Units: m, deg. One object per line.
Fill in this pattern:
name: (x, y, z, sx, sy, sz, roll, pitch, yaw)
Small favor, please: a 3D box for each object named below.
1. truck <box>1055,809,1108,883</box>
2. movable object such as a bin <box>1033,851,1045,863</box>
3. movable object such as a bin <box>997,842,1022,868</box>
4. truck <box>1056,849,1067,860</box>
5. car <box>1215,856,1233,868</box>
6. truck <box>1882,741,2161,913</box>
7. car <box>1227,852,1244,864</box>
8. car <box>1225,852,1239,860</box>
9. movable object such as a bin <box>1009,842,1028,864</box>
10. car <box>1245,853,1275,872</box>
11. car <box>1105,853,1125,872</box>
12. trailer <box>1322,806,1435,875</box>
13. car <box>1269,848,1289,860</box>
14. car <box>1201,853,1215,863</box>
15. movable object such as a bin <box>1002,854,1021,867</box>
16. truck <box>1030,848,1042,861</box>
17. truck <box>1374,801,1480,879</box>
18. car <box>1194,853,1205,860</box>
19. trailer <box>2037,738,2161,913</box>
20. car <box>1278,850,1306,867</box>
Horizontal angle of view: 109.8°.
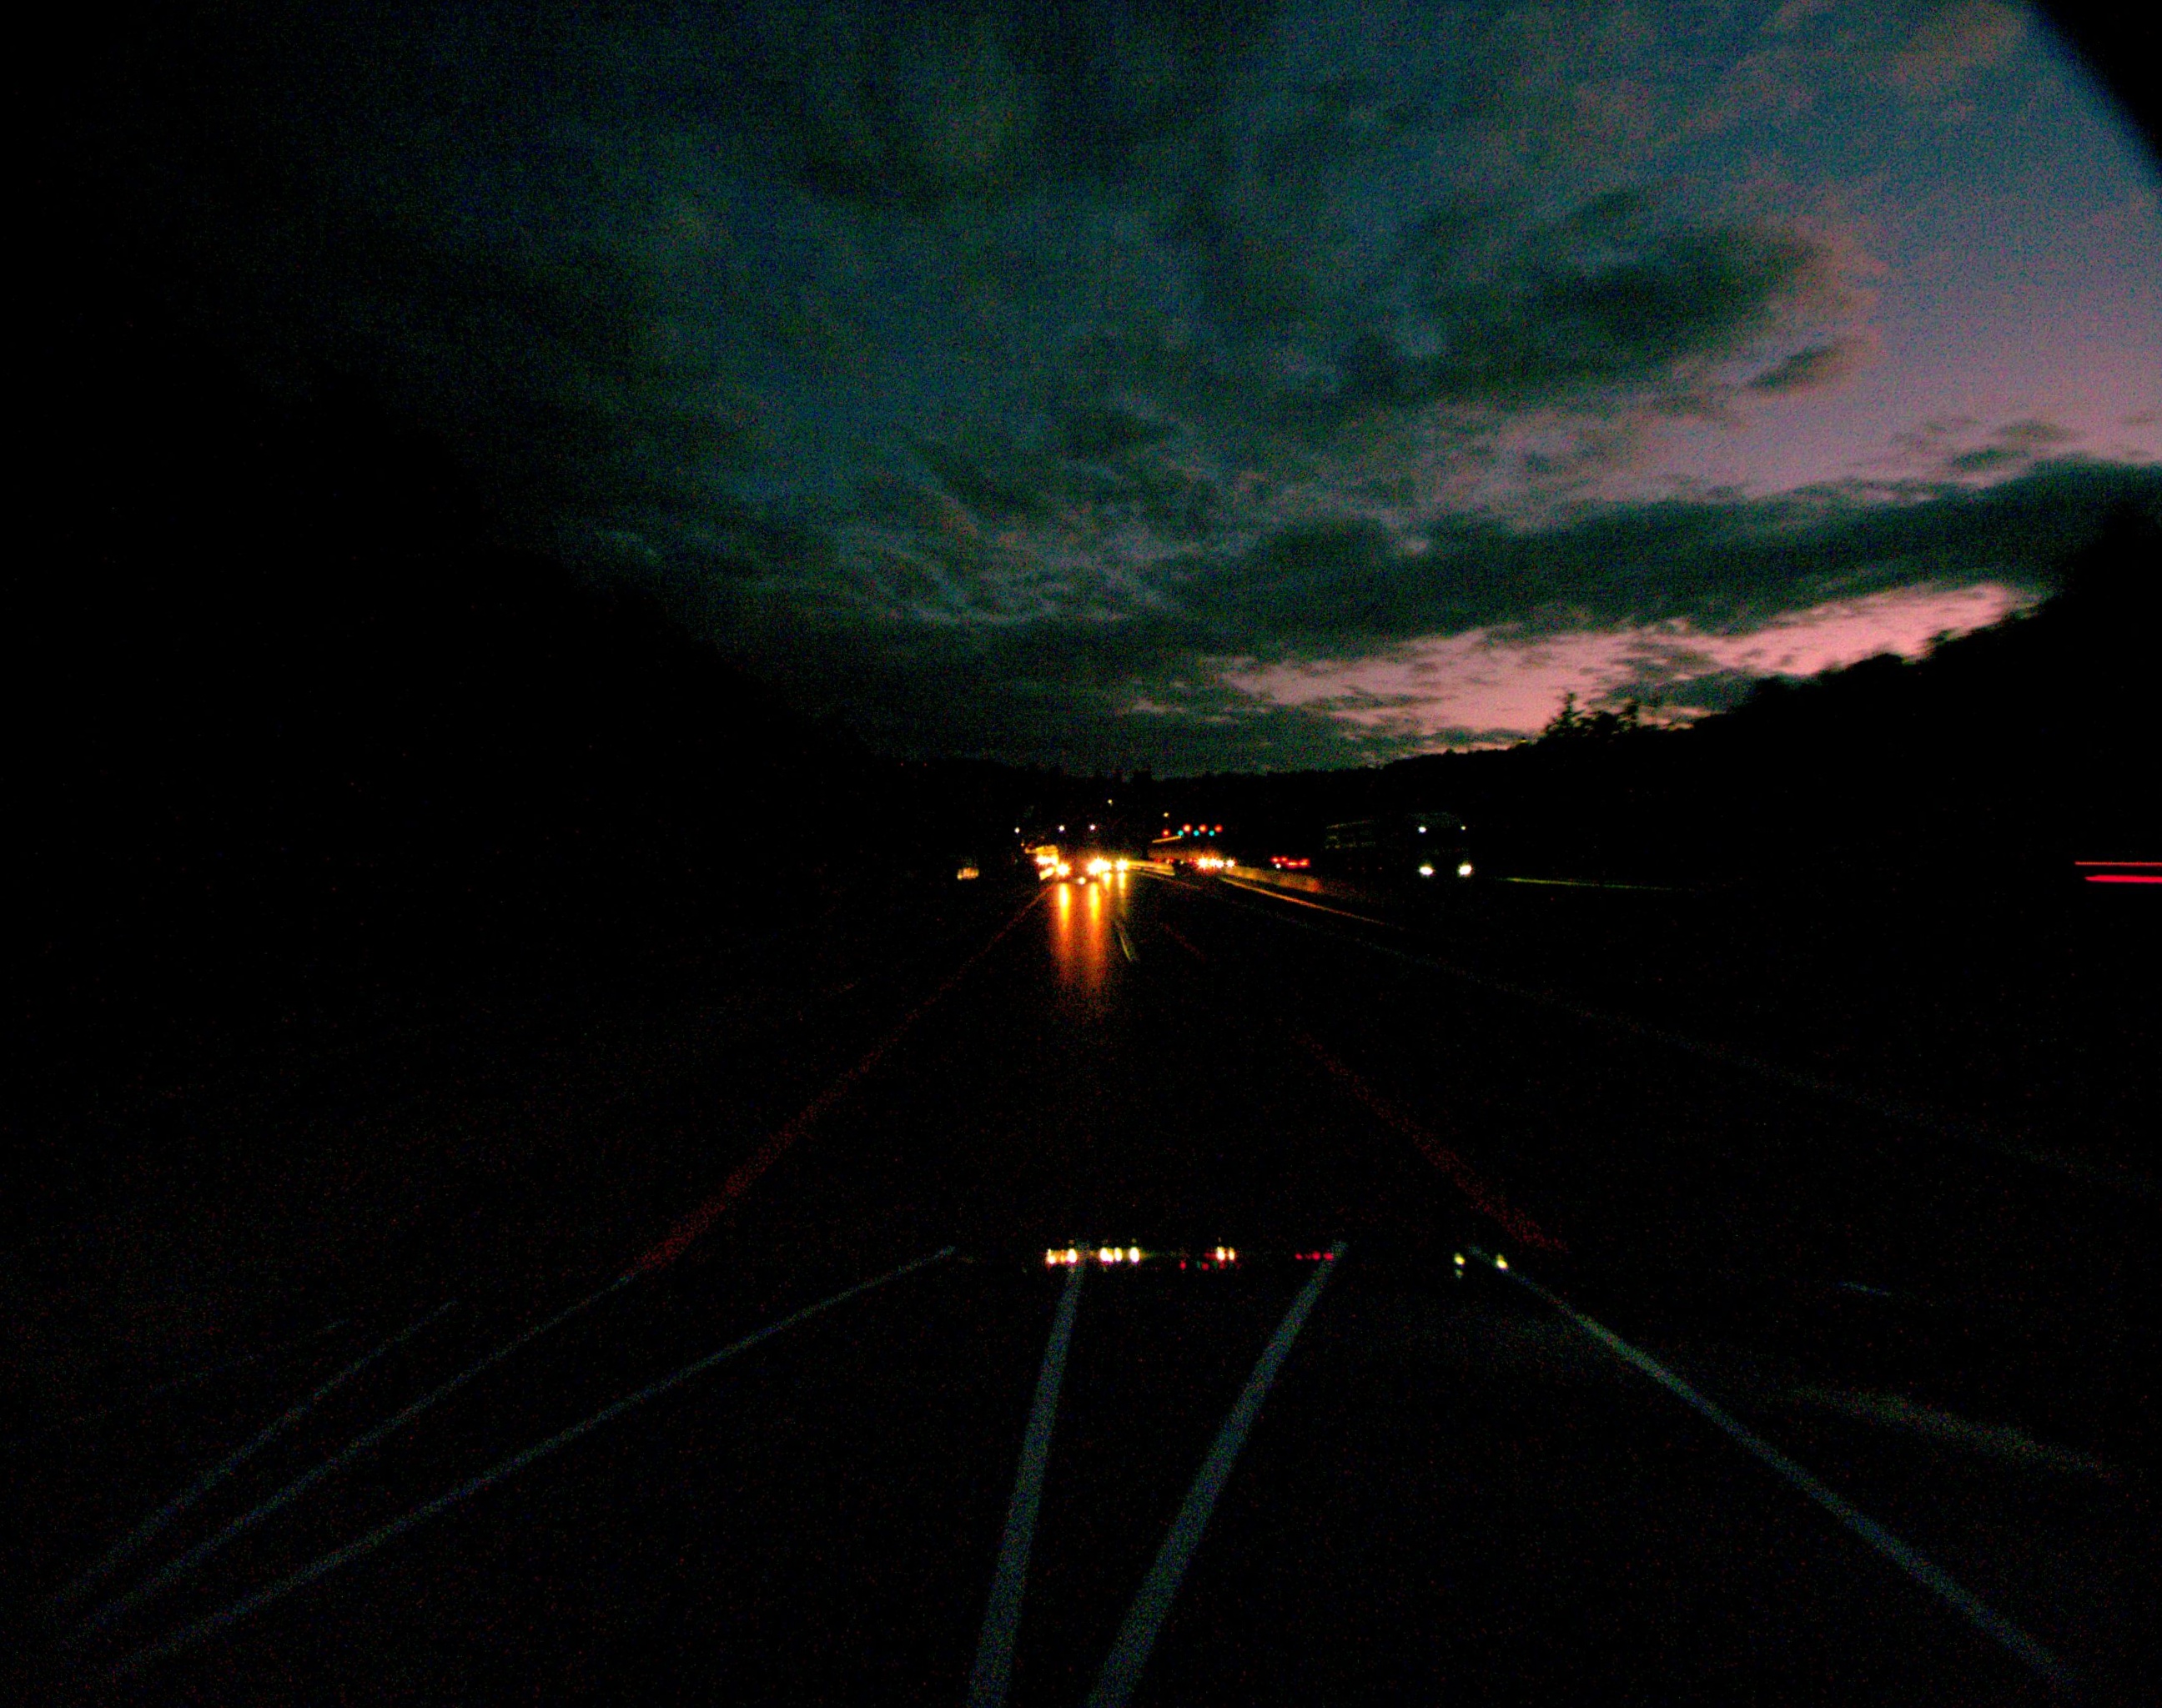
truck: (-0.055, -0.548, 50.725, 2.954, 4.241, 11.050, -3, 1, -1)
movable object such as a bin: (-10.612, 0.716, 192.375, 2.978, 2.811, 7.193, -3, 1, -3)
movable object such as a bin: (-8.670, 0.112, 92.627, 2.628, 3.090, 5.804, -1, 1, -2)
truck: (-5.159, 0.020, 203.195, 1.998, 2.817, 6.297, -3, 1, 5)
car: (19.724, 1.062, 104.947, 1.791, 1.472, 3.999, -3, 1, 1)
truck: (27.380, -0.749, 21.494, 2.783, 4.147, 6.386, -3, 1, 3)
car: (24.311, 0.587, 119.576, 1.808, 1.628, 4.751, -3, 1, 1)
car: (30.249, 0.314, 152.683, 1.830, 1.476, 4.701, -3, 1, 1)
movable object such as a bin: (-9.529, -0.180, 115.984, 2.571, 3.299, 5.577, -1, 1, -2)
car: (19.273, 0.870, 81.929, 2.095, 1.873, 4.700, -3, 1, 0)
car: (3.163, 0.778, 70.561, 1.662, 1.586, 3.997, -3, 1, 4)
trailer: (18.700, -0.812, 48.918, 2.805, 3.761, 11.835, -3, 1, 2)
car: (29.940, -0.033, 115.058, 1.808, 1.628, 4.751, -3, 1, 1)
car: (19.943, 0.621, 119.189, 1.509, 1.472, 3.824, -3, 1, 1)
movable object such as a bin: (-8.890, 0.810, 97.593, 1.999, 1.592, 4.083, 0, 1, -1)
truck: (-11.847, 0.189, 201.265, 2.825, 3.267, 8.350, -3, 1, -2)
truck: (18.486, -0.712, 41.057, 2.809, 3.753, 6.302, -3, 1, 1)
car: (27.000, 0.526, 173.048, 1.815, 1.476, 4.701, -3, 1, 1)
trailer: (27.017, -0.690, 14.315, 2.785, 4.181, 12.403, -3, 1, 3)
car: (23.044, 0.459, 83.142, 1.741, 1.628, 4.891, -3, 1, 1)
